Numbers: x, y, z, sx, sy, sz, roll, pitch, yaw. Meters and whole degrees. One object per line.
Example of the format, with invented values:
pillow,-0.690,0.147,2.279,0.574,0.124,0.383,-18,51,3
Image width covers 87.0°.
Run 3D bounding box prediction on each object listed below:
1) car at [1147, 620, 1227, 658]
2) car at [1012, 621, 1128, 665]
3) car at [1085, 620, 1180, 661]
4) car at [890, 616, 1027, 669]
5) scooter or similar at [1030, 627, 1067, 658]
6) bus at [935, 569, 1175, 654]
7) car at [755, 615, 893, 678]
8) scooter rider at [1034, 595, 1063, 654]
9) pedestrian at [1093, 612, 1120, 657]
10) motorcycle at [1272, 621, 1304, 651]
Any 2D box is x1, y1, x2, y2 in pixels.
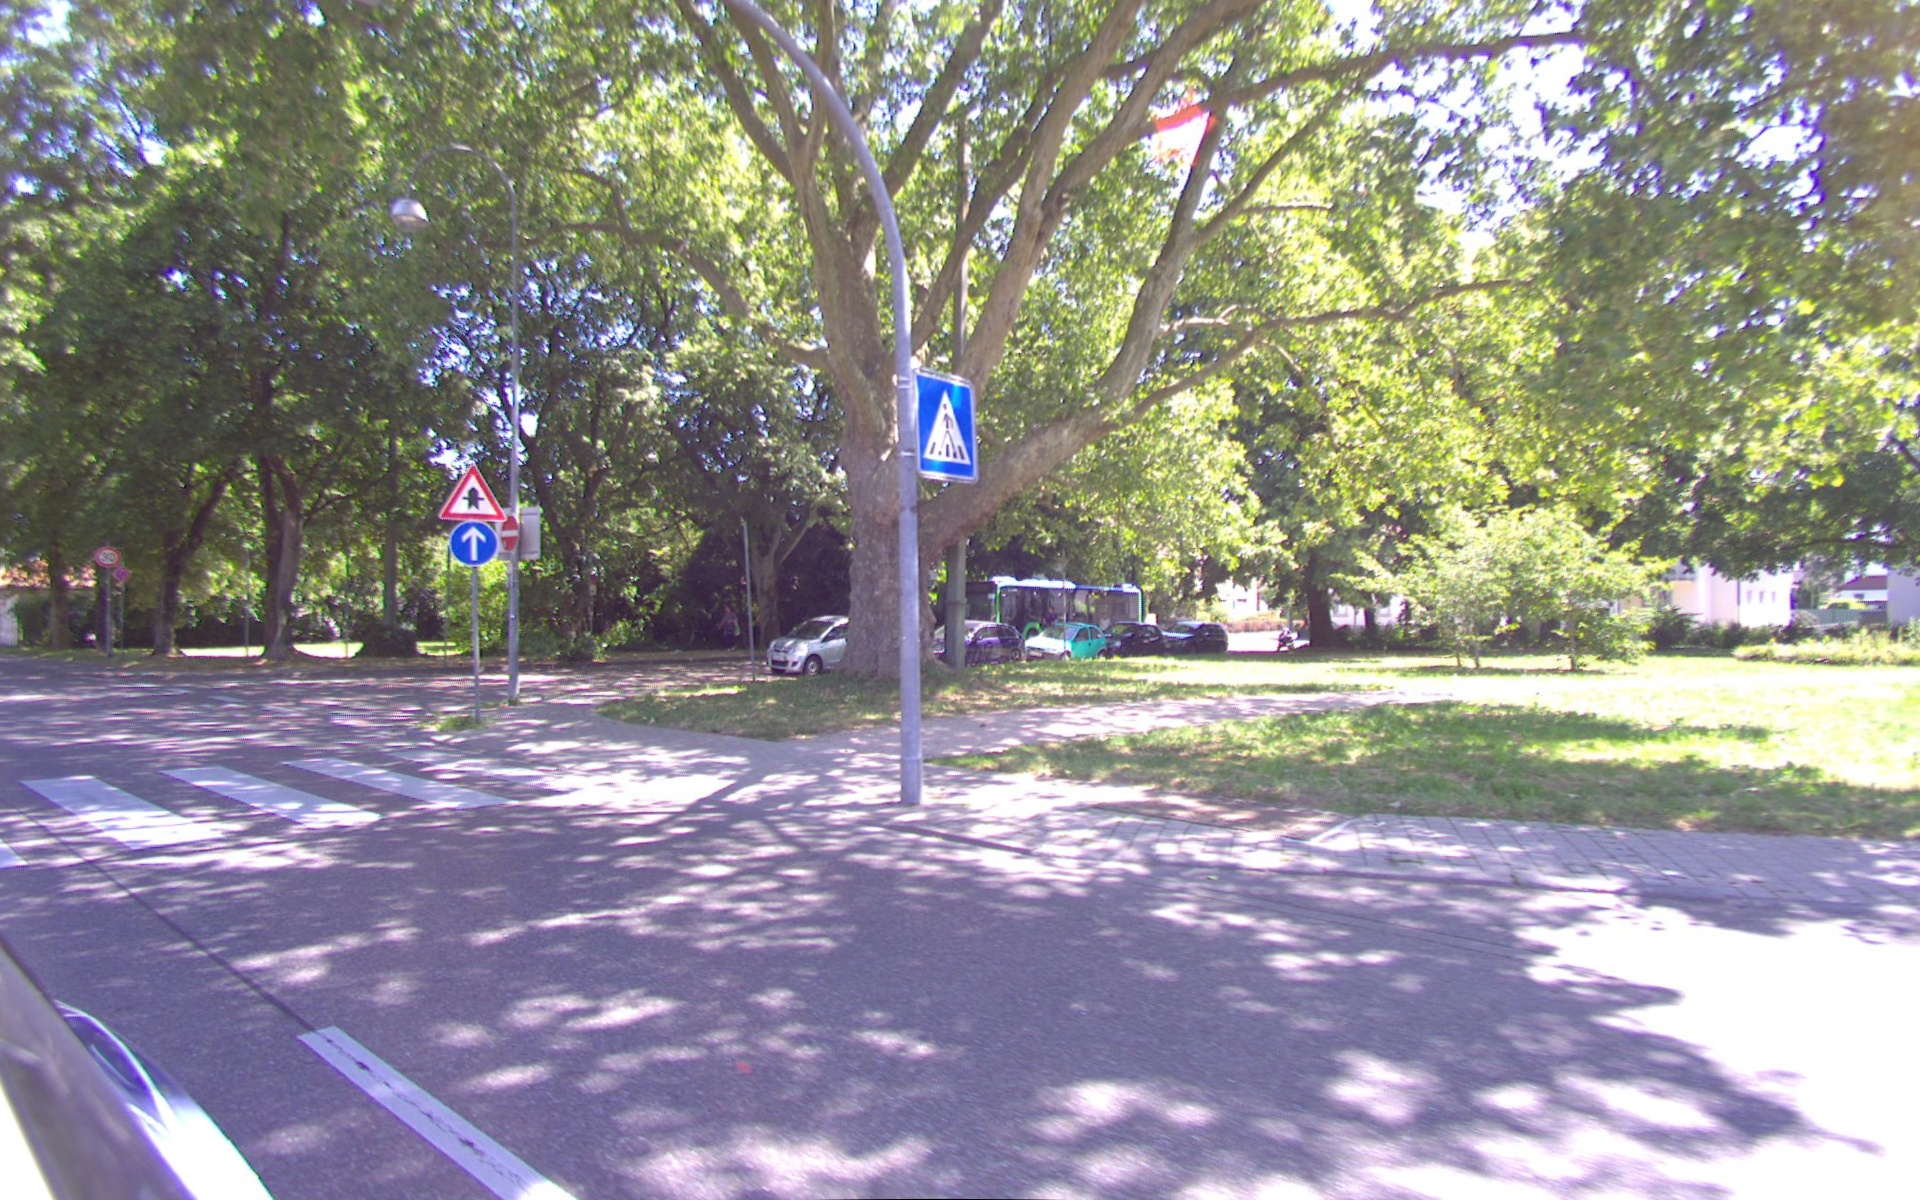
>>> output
car,9.601,1.616,42.637,1.758,1.504,3.866,-1,-1,39
car,3.925,1.453,35.438,1.754,1.450,4.707,-1,-1,39
car,6.726,1.517,39.113,1.758,1.504,4.318,-1,-1,39
car,0.043,1.220,30.657,1.754,1.450,4.444,1,0,39
scooter or similar,3.546,1.692,40.498,0.740,1.192,1.499,-2,-2,39
bus,5.015,0.571,46.894,2.874,3.320,15.741,-1,-1,39
car,-3.535,1.160,26.715,1.598,1.508,3.440,1,0,39
scooter rider,3.550,0.983,40.518,0.740,2.335,0.915,-2,-2,39
pedestrian,5.997,1.403,41.424,0.721,1.816,0.928,-1,-1,39
motorcycle,16.503,1.796,50.892,0.712,1.437,2.231,-1,-1,40
